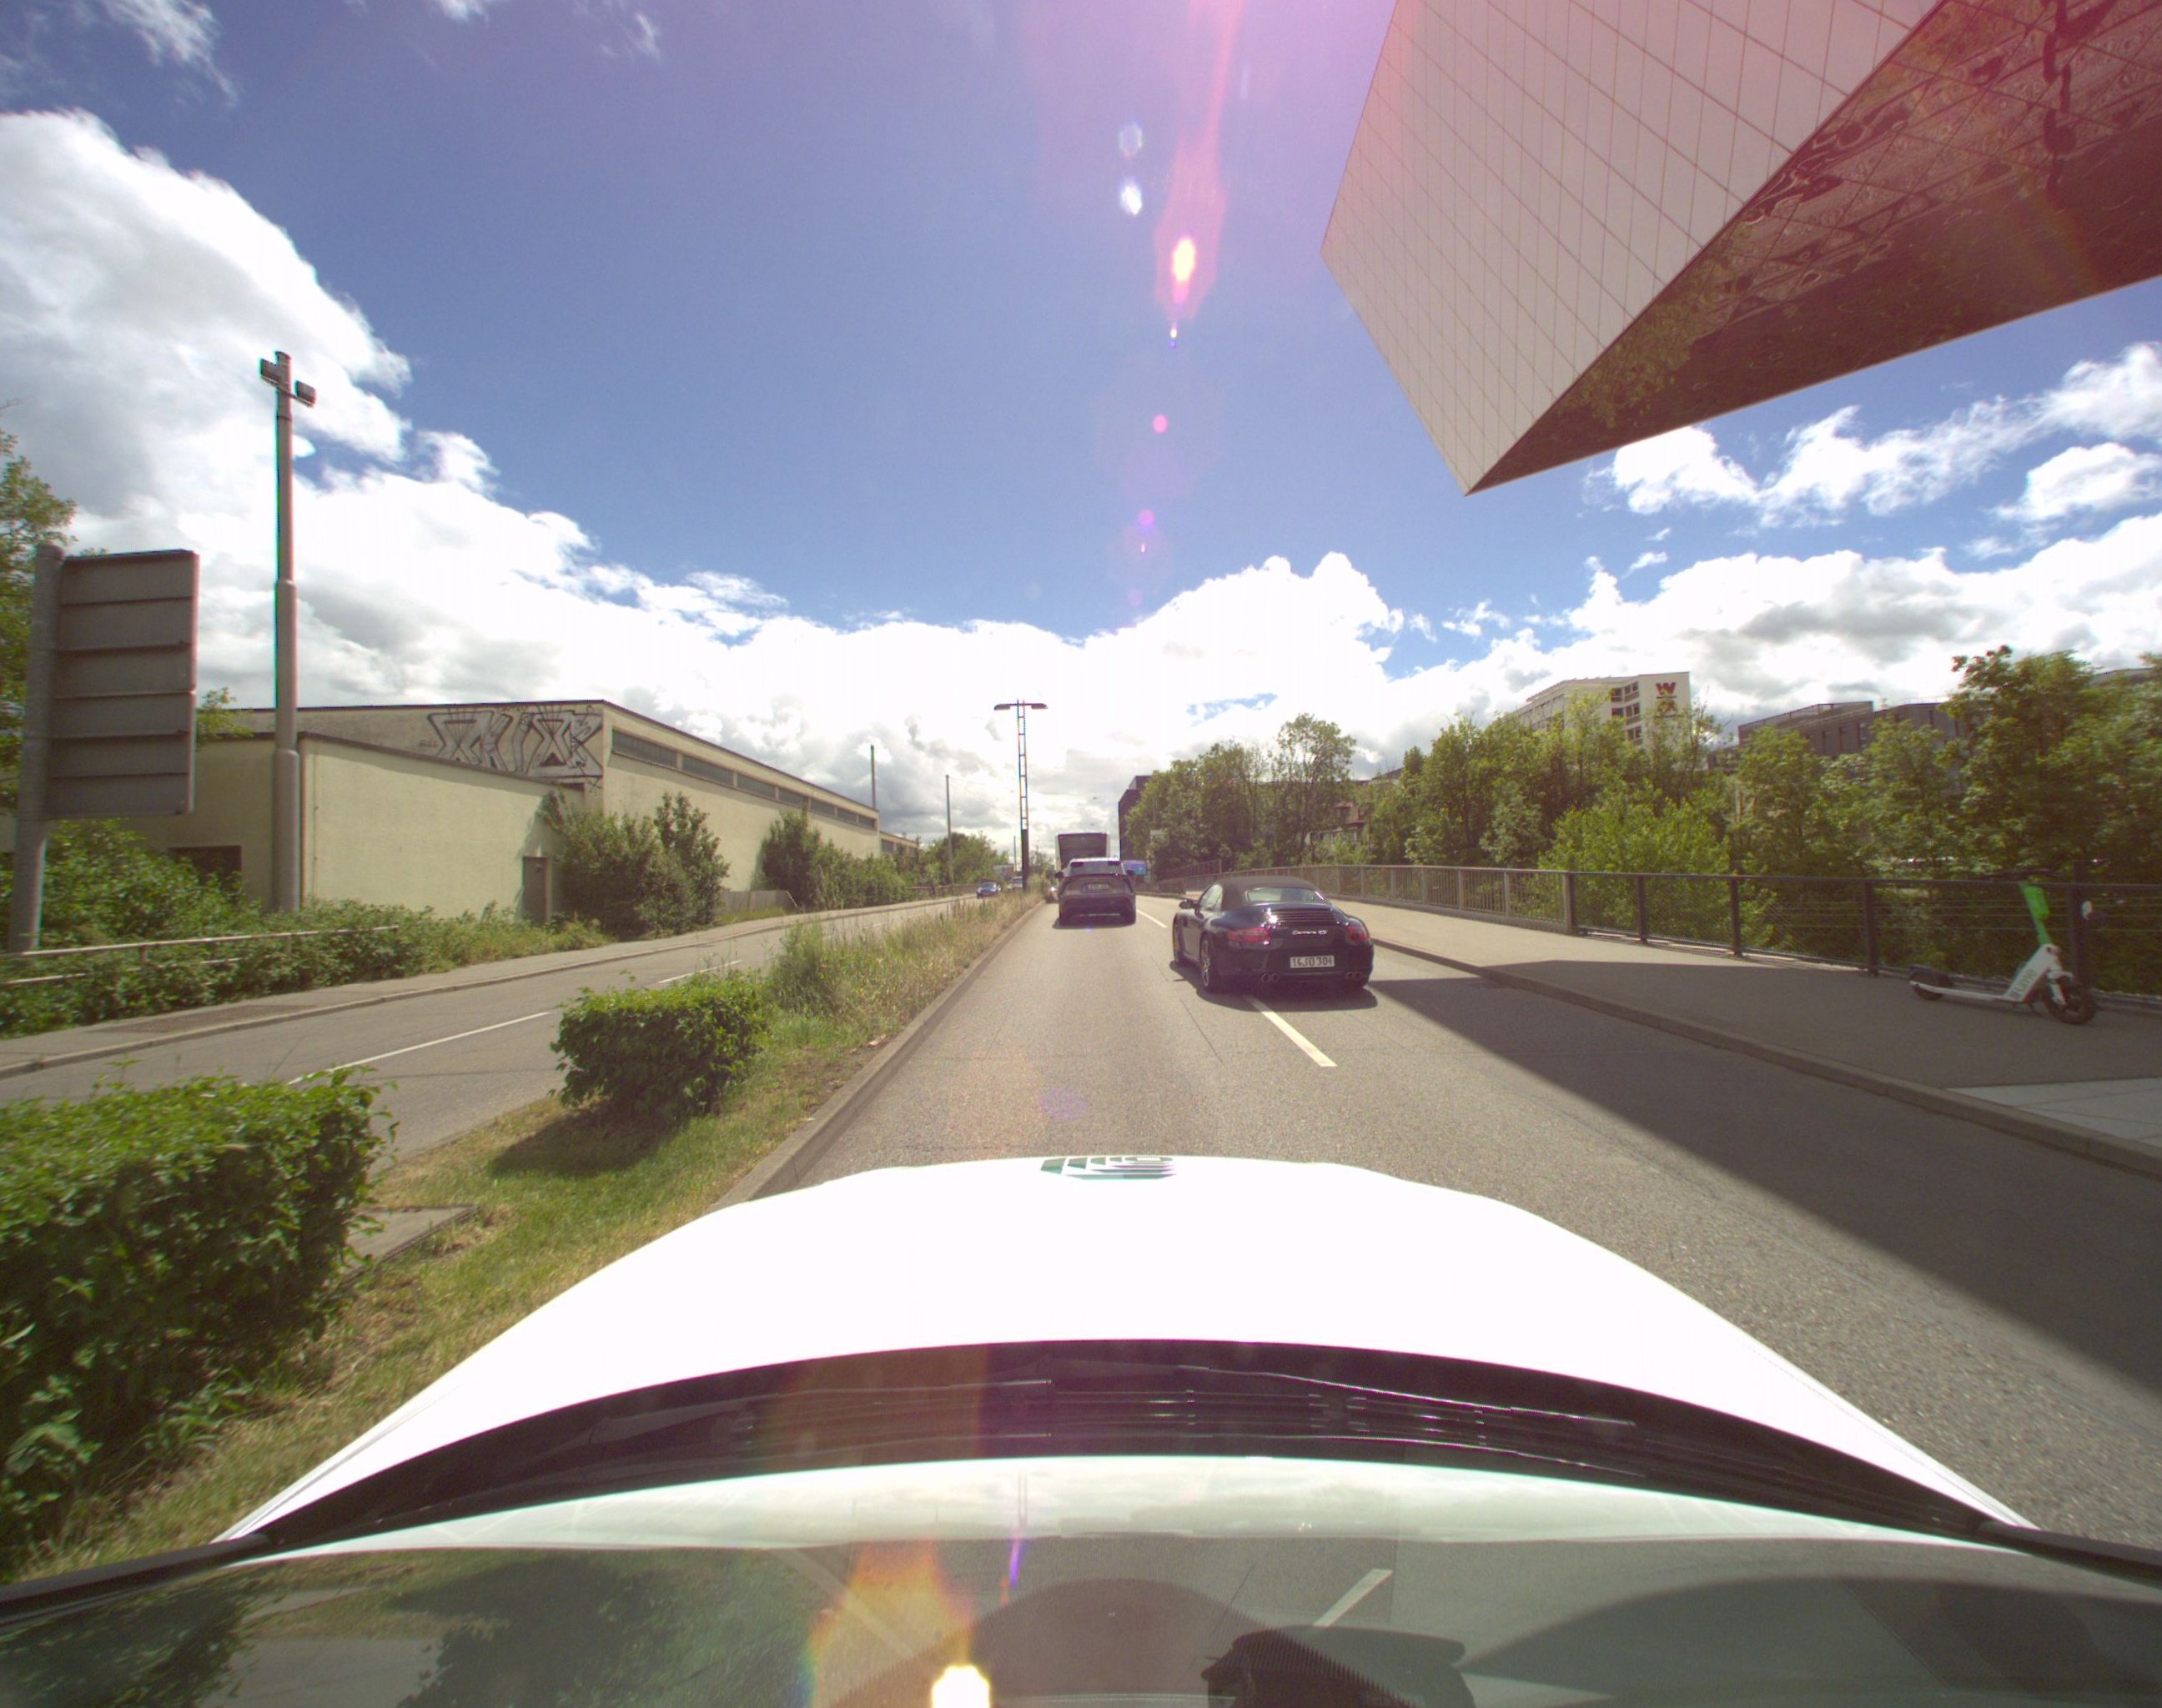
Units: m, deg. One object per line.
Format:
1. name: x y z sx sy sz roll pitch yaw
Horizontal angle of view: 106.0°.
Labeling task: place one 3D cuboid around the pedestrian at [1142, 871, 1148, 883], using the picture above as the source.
1. pedestrian: 9.674 3.489 123.137 0.674 1.697 0.601 -3 -3 25

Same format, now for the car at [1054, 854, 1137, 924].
1. car: 0.379 0.833 20.783 1.873 1.594 4.230 -1 -1 1

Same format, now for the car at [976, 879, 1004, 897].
1. car: -7.464 2.787 66.819 1.749 1.276 3.999 -4 -2 0

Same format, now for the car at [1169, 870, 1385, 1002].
1. car: 2.231 0.879 10.384 1.715 1.275 4.086 -1 -1 -1

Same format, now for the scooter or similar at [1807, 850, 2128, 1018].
1. scooter or similar: 7.379 0.601 6.949 0.651 1.214 1.857 -3 -1 0

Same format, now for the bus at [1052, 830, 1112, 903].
1. bus: 0.089 0.502 42.577 2.680 3.255 12.057 0 0 0

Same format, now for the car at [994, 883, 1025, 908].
1. car: -5.407 3.162 62.058 1.872 1.627 4.442 -4 -1 0
